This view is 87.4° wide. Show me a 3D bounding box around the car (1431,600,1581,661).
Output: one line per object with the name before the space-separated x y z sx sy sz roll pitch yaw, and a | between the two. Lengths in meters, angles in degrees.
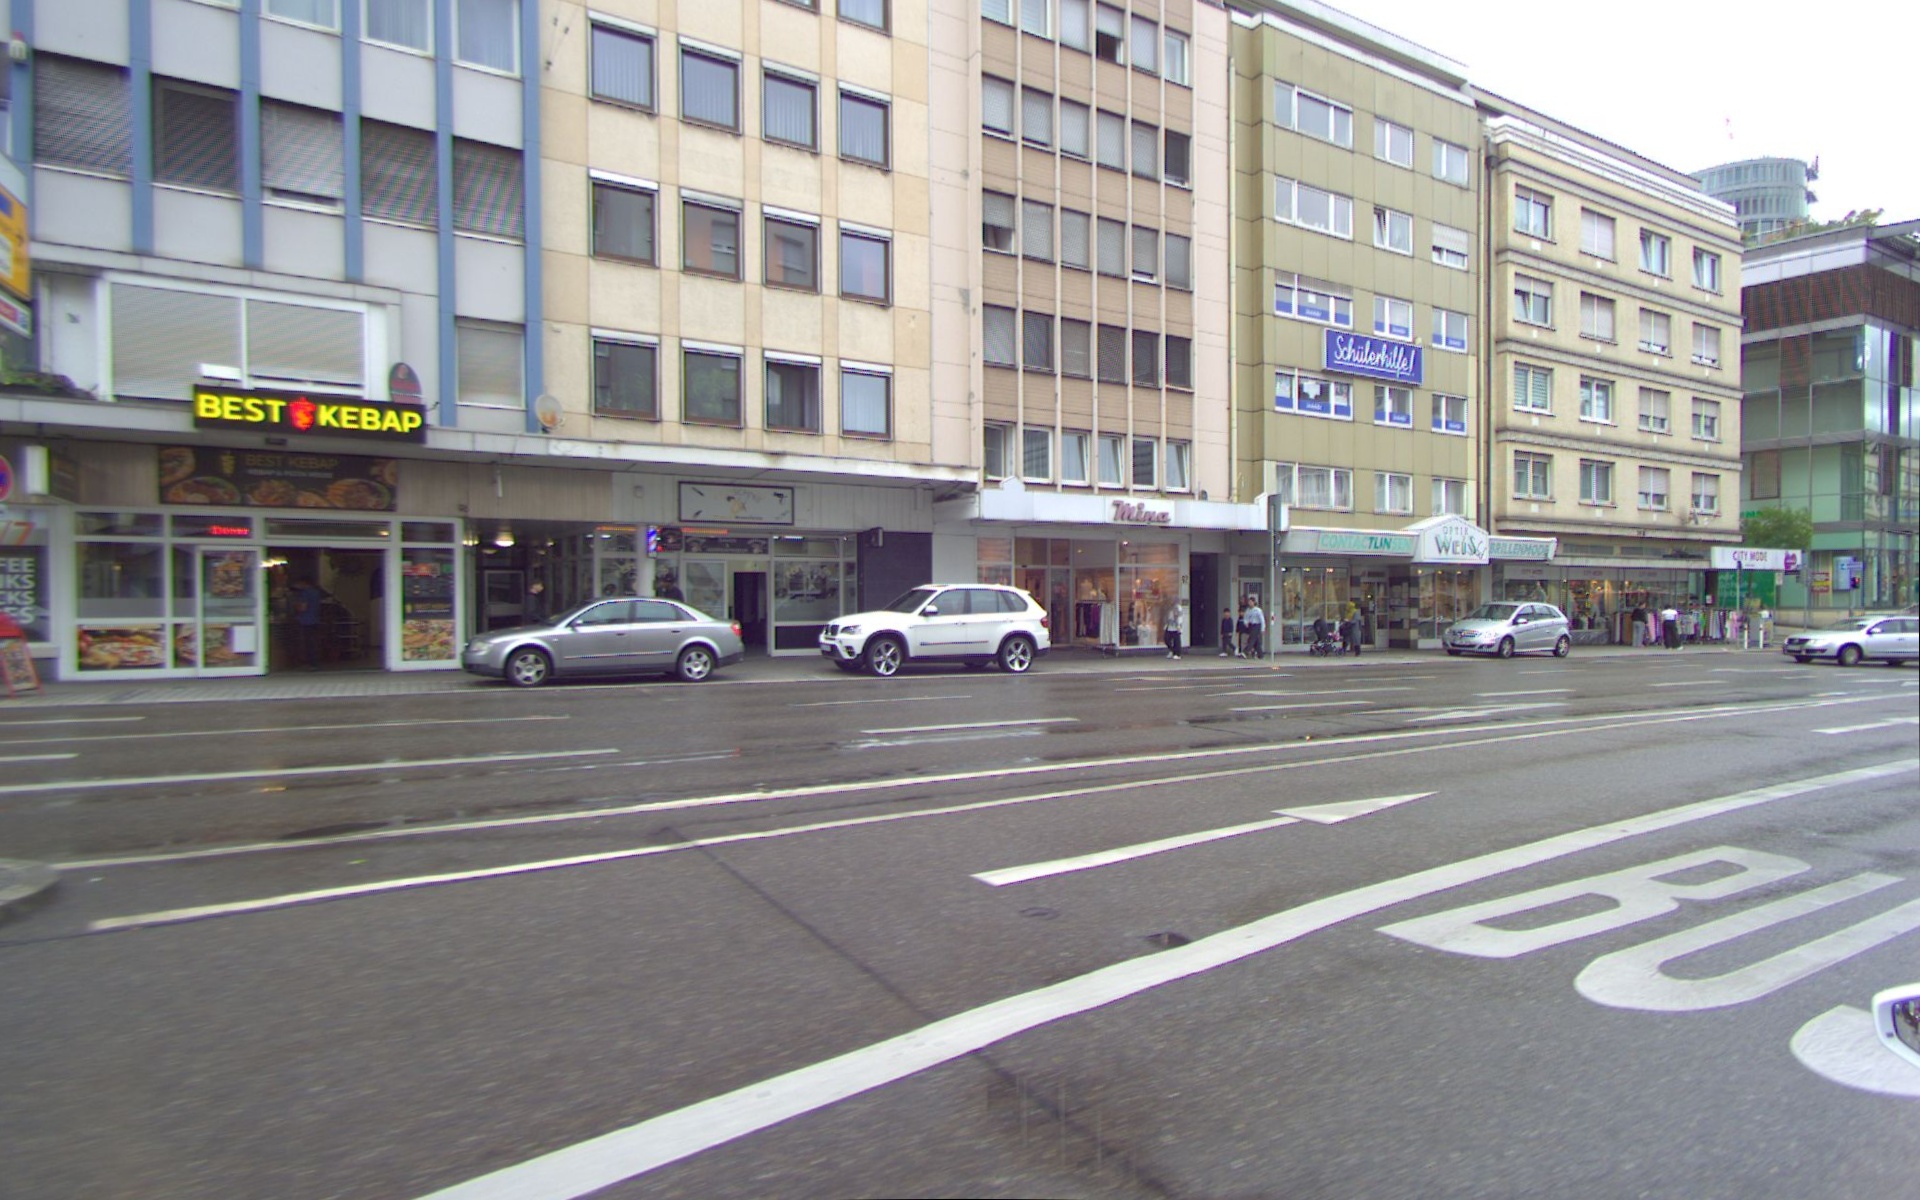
car | 16.030 0.830 29.453 4.348 1.571 1.838 0 3 -30

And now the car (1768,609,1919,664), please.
car | 26.975 1.069 29.645 4.658 1.465 1.792 1 1 4

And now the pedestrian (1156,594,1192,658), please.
pedestrian | 5.467 0.654 25.667 0.604 1.595 0.639 1 1 -29

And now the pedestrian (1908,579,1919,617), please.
pedestrian | 51.746 -0.098 53.957 0.963 2.007 0.876 0 1 -30

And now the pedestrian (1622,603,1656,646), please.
pedestrian | 24.957 0.886 36.915 0.674 1.557 0.781 0 2 -31

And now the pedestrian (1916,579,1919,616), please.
pedestrian | 52.564 -0.132 54.401 0.840 2.007 0.871 0 1 -30

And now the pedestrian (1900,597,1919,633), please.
pedestrian | 46.943 0.717 49.086 0.988 1.736 1.042 1 1 -2

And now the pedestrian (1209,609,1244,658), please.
pedestrian | 7.139 0.882 26.906 0.712 1.266 0.531 -1 3 -31

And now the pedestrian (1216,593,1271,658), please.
pedestrian | 7.768 0.673 27.517 1.074 1.718 0.947 -1 3 -31

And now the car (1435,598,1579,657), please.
car | 16.008 0.767 29.384 4.149 1.584 1.693 1 1 -28

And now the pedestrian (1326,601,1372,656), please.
pedestrian | 10.919 0.783 28.190 1.053 1.504 0.663 -1 3 -31

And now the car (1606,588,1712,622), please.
car | 37.061 0.246 53.320 1.790 1.567 4.248 0 3 -39

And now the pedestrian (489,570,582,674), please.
pedestrian | -7.490 0.359 17.710 1.402 1.742 0.947 -1 3 -31

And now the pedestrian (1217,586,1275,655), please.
pedestrian | 7.449 0.509 26.145 1.078 1.737 0.947 -1 3 -31

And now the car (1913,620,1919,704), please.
car | 18.866 1.082 17.719 4.577 1.435 1.783 0 1 -31

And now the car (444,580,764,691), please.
car | -5.903 0.528 16.786 4.820 1.630 1.857 1 1 -29

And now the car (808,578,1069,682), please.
car | -0.381 0.549 19.988 4.903 1.852 1.841 1 1 -29

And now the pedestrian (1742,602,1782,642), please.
pedestrian | 33.017 0.911 41.341 1.139 1.607 0.868 1 1 -26

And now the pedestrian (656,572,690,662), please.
pedestrian | -5.646 0.319 19.766 0.577 1.731 0.443 -1 3 -29

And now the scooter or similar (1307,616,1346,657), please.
scooter or similar | 10.136 0.992 27.789 0.693 1.068 0.732 -1 3 -31

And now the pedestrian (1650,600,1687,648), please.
pedestrian | 25.404 0.848 36.005 0.828 1.650 0.775 2 2 17
